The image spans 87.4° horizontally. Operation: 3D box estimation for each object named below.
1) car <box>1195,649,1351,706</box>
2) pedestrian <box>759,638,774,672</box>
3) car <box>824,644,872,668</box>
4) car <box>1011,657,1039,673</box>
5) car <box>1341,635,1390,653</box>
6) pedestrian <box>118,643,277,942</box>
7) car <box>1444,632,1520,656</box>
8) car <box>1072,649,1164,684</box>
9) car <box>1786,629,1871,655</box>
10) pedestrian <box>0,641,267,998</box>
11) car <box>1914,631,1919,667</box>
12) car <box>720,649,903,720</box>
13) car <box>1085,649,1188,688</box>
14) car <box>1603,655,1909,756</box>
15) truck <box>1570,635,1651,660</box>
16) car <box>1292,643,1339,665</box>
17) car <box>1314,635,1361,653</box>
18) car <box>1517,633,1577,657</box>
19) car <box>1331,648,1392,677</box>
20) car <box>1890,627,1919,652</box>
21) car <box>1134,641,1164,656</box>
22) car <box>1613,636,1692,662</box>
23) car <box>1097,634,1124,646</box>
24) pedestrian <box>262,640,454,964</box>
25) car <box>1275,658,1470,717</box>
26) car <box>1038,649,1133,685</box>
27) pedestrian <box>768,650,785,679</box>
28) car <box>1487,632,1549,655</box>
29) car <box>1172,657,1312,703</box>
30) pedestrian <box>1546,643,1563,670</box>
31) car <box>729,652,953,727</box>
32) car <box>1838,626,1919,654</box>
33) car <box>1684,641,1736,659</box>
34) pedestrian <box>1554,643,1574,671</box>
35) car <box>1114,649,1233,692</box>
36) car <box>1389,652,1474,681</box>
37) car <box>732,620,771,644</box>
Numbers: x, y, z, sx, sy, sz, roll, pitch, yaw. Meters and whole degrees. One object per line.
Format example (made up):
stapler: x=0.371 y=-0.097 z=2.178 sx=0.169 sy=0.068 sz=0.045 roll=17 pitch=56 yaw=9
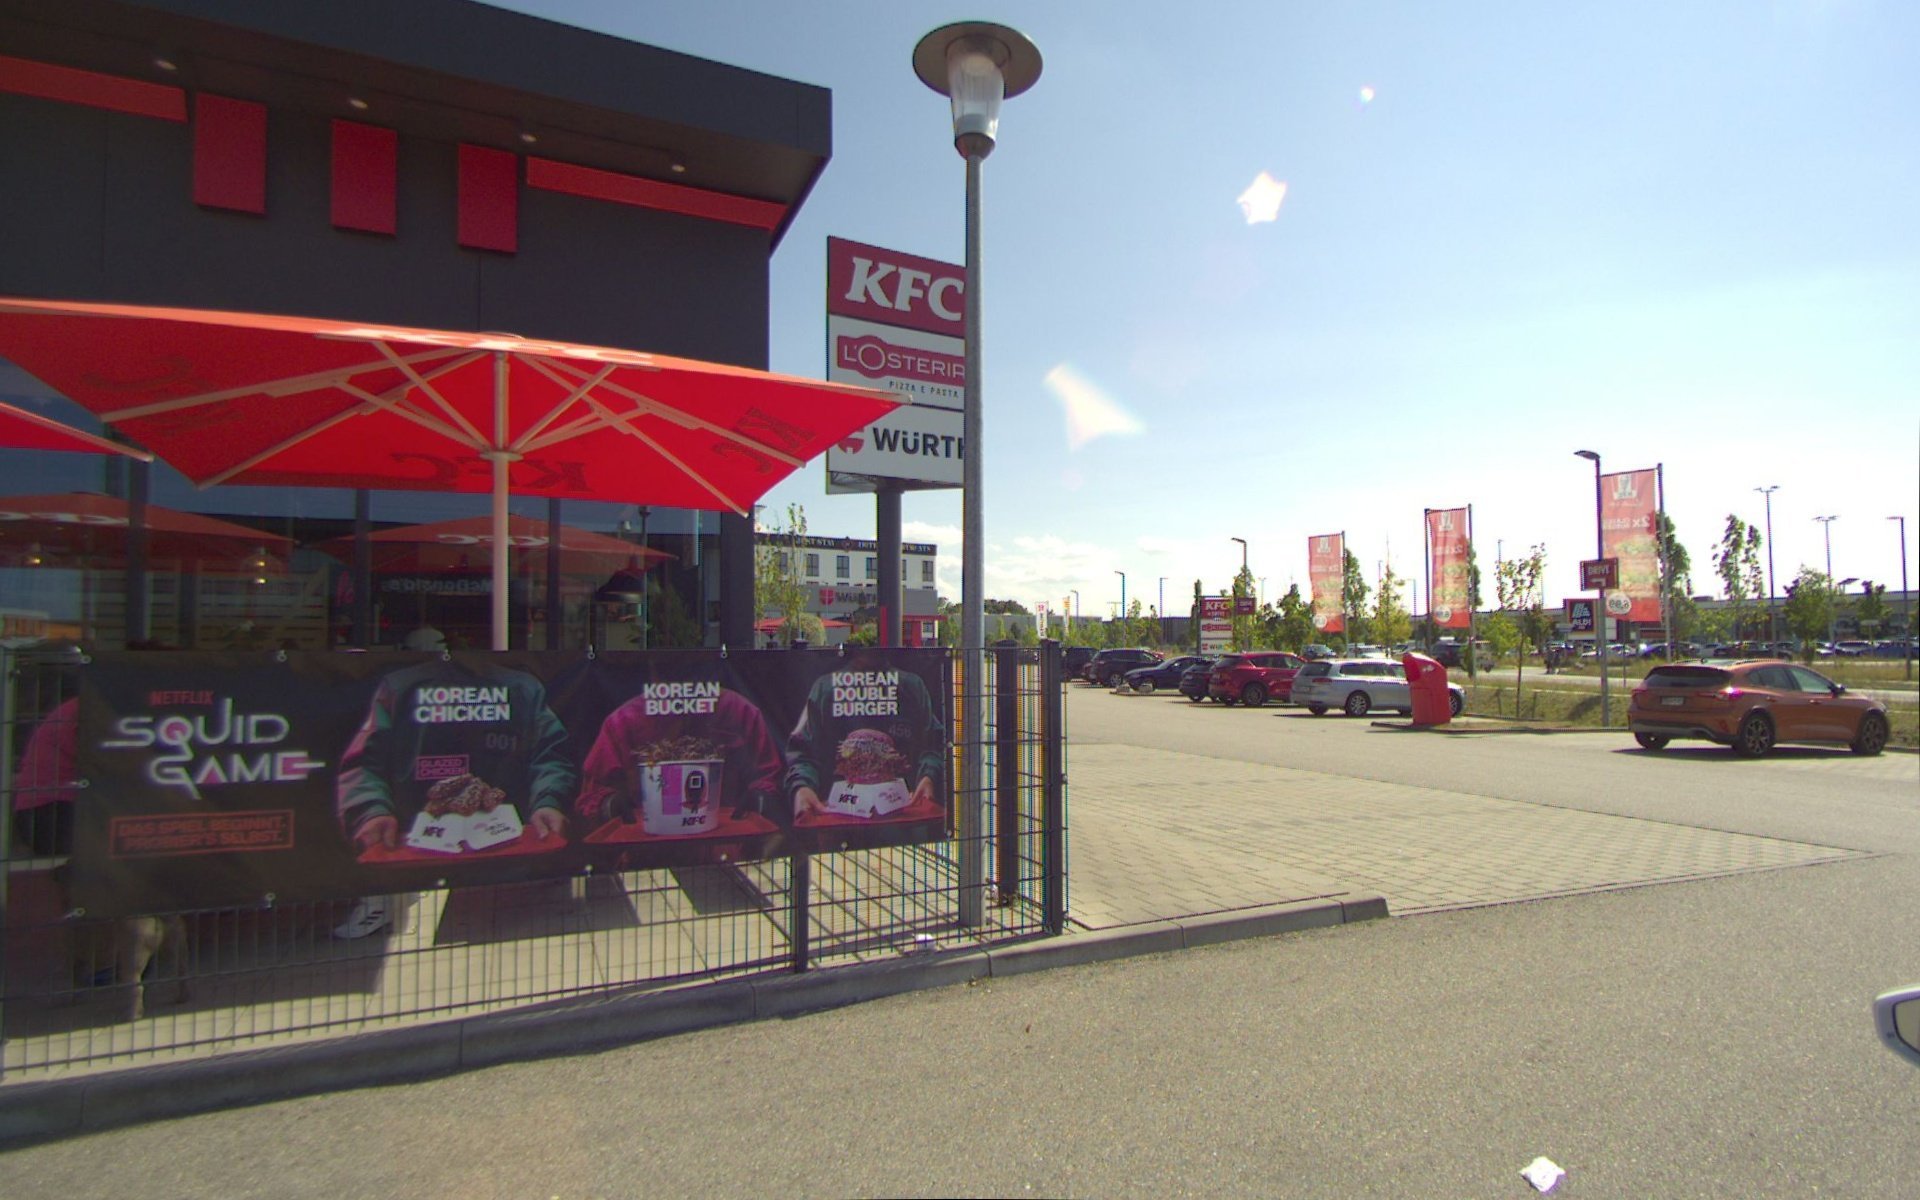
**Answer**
car: x=9.541 y=2.364 z=30.758 sx=4.158 sy=1.659 sz=1.947 roll=1 pitch=-3 yaw=-13
pedestrian: x=-8.855 y=2.511 z=45.983 sx=0.519 sy=1.525 sz=0.565 roll=1 pitch=-2 yaw=-27
car: x=-9.253 y=4.597 z=82.612 sx=2.055 sy=1.905 sz=4.837 roll=1 pitch=-2 yaw=-32
car: x=6.050 y=6.022 z=93.449 sx=1.674 sy=1.424 sz=3.890 roll=1 pitch=-3 yaw=-11
car: x=46.049 y=4.953 z=114.042 sx=4.992 sy=2.040 sz=1.994 roll=1 pitch=-2 yaw=-15
pedestrian: x=-3.653 y=0.851 z=4.805 sx=0.547 sy=1.290 sz=0.677 roll=2 pitch=-2 yaw=-41
car: x=50.754 y=4.281 z=97.669 sx=6.201 sy=2.266 sz=2.811 roll=0 pitch=-2 yaw=-12
car: x=7.616 y=3.207 z=48.559 sx=4.008 sy=1.630 sz=1.893 roll=1 pitch=-2 yaw=-10
car: x=71.792 y=3.473 z=83.089 sx=2.057 sy=2.040 sz=4.896 roll=1 pitch=-2 yaw=-29
pedestrian: x=-3.419 y=0.814 z=4.147 sx=0.835 sy=1.290 sz=0.677 roll=2 pitch=-2 yaw=-41
car: x=52.237 y=2.507 z=51.783 sx=4.202 sy=1.880 sz=2.000 roll=0 pitch=-2 yaw=-2
car: x=-3.440 y=1.918 z=23.289 sx=3.856 sy=1.526 sz=1.730 roll=2 pitch=-3 yaw=-26
car: x=7.993 y=3.103 z=45.661 sx=4.257 sy=1.725 sz=1.892 roll=1 pitch=-3 yaw=-13
car: x=13.042 y=1.690 z=16.505 sx=4.283 sy=1.488 sz=1.827 roll=2 pitch=-3 yaw=-17
truck: x=51.543 y=3.759 z=79.654 sx=5.330 sy=1.888 sz=1.999 roll=0 pitch=-2 yaw=-5
car: x=28.279 y=4.282 z=80.018 sx=1.843 sy=1.686 sz=4.601 roll=0 pitch=-2 yaw=-4
car: x=44.902 y=5.219 z=119.418 sx=4.992 sy=2.040 sz=1.994 roll=1 pitch=-2 yaw=-15
car: x=50.913 y=3.930 z=87.195 sx=4.010 sy=2.040 sz=2.000 roll=0 pitch=-2 yaw=-2
car: x=27.979 y=4.332 z=70.156 sx=1.963 sy=1.870 sz=4.402 roll=0 pitch=-2 yaw=-8
car: x=72.467 y=2.950 z=74.626 sx=1.929 sy=1.880 sz=4.546 roll=1 pitch=-2 yaw=-24
car: x=20.878 y=5.358 z=111.092 sx=1.962 sy=1.547 sz=4.653 roll=0 pitch=-2 yaw=-6
car: x=51.322 y=3.616 z=74.489 sx=4.642 sy=1.870 sz=1.999 roll=0 pitch=-2 yaw=-5
car: x=21.478 y=5.704 z=143.355 sx=3.616 sy=1.619 sz=1.705 roll=1 pitch=-2 yaw=-24
pedestrian: x=-2.667 y=0.822 z=4.452 sx=0.619 sy=1.290 sz=0.606 roll=2 pitch=-2 yaw=-41
car: x=10.676 y=2.257 z=26.074 sx=4.522 sy=1.431 sz=1.737 roll=1 pitch=-3 yaw=-13
car: x=6.349 y=3.396 z=51.122 sx=4.505 sy=1.783 sz=1.894 roll=1 pitch=-3 yaw=-8
pedestrian: x=-9.010 y=3.152 z=49.253 sx=0.475 sy=1.384 sz=0.647 roll=-2 pitch=-2 yaw=40
car: x=51.184 y=3.986 z=92.145 sx=5.093 sy=2.040 sz=1.994 roll=1 pitch=-2 yaw=-15
car: x=9.258 y=2.632 z=33.085 sx=4.136 sy=1.428 sz=1.769 roll=1 pitch=-3 yaw=-15
pedestrian: x=34.920 y=3.292 z=59.002 sx=0.613 sy=1.576 sz=0.667 roll=0 pitch=-2 yaw=1
car: x=-2.474 y=1.823 z=21.056 sx=4.346 sy=1.431 sz=1.729 roll=2 pitch=-3 yaw=-27
car: x=65.315 y=2.818 z=71.006 sx=1.929 sy=1.880 sz=4.546 roll=1 pitch=-2 yaw=-24
car: x=68.265 y=4.544 z=91.468 sx=1.647 sy=1.572 sz=3.449 roll=1 pitch=-2 yaw=-30
pedestrian: x=34.915 y=3.275 z=58.095 sx=0.678 sy=1.620 sz=0.757 roll=0 pitch=-2 yaw=1
car: x=8.619 y=2.856 z=40.778 sx=4.367 sy=1.659 sz=1.895 roll=1 pitch=-3 yaw=-5
car: x=31.048 y=4.354 z=66.327 sx=1.959 sy=1.754 sz=5.200 roll=1 pitch=-2 yaw=-20
car: x=-12.338 y=1.904 z=59.223 sx=1.624 sy=1.325 sz=3.823 roll=1 pitch=-3 yaw=-21
